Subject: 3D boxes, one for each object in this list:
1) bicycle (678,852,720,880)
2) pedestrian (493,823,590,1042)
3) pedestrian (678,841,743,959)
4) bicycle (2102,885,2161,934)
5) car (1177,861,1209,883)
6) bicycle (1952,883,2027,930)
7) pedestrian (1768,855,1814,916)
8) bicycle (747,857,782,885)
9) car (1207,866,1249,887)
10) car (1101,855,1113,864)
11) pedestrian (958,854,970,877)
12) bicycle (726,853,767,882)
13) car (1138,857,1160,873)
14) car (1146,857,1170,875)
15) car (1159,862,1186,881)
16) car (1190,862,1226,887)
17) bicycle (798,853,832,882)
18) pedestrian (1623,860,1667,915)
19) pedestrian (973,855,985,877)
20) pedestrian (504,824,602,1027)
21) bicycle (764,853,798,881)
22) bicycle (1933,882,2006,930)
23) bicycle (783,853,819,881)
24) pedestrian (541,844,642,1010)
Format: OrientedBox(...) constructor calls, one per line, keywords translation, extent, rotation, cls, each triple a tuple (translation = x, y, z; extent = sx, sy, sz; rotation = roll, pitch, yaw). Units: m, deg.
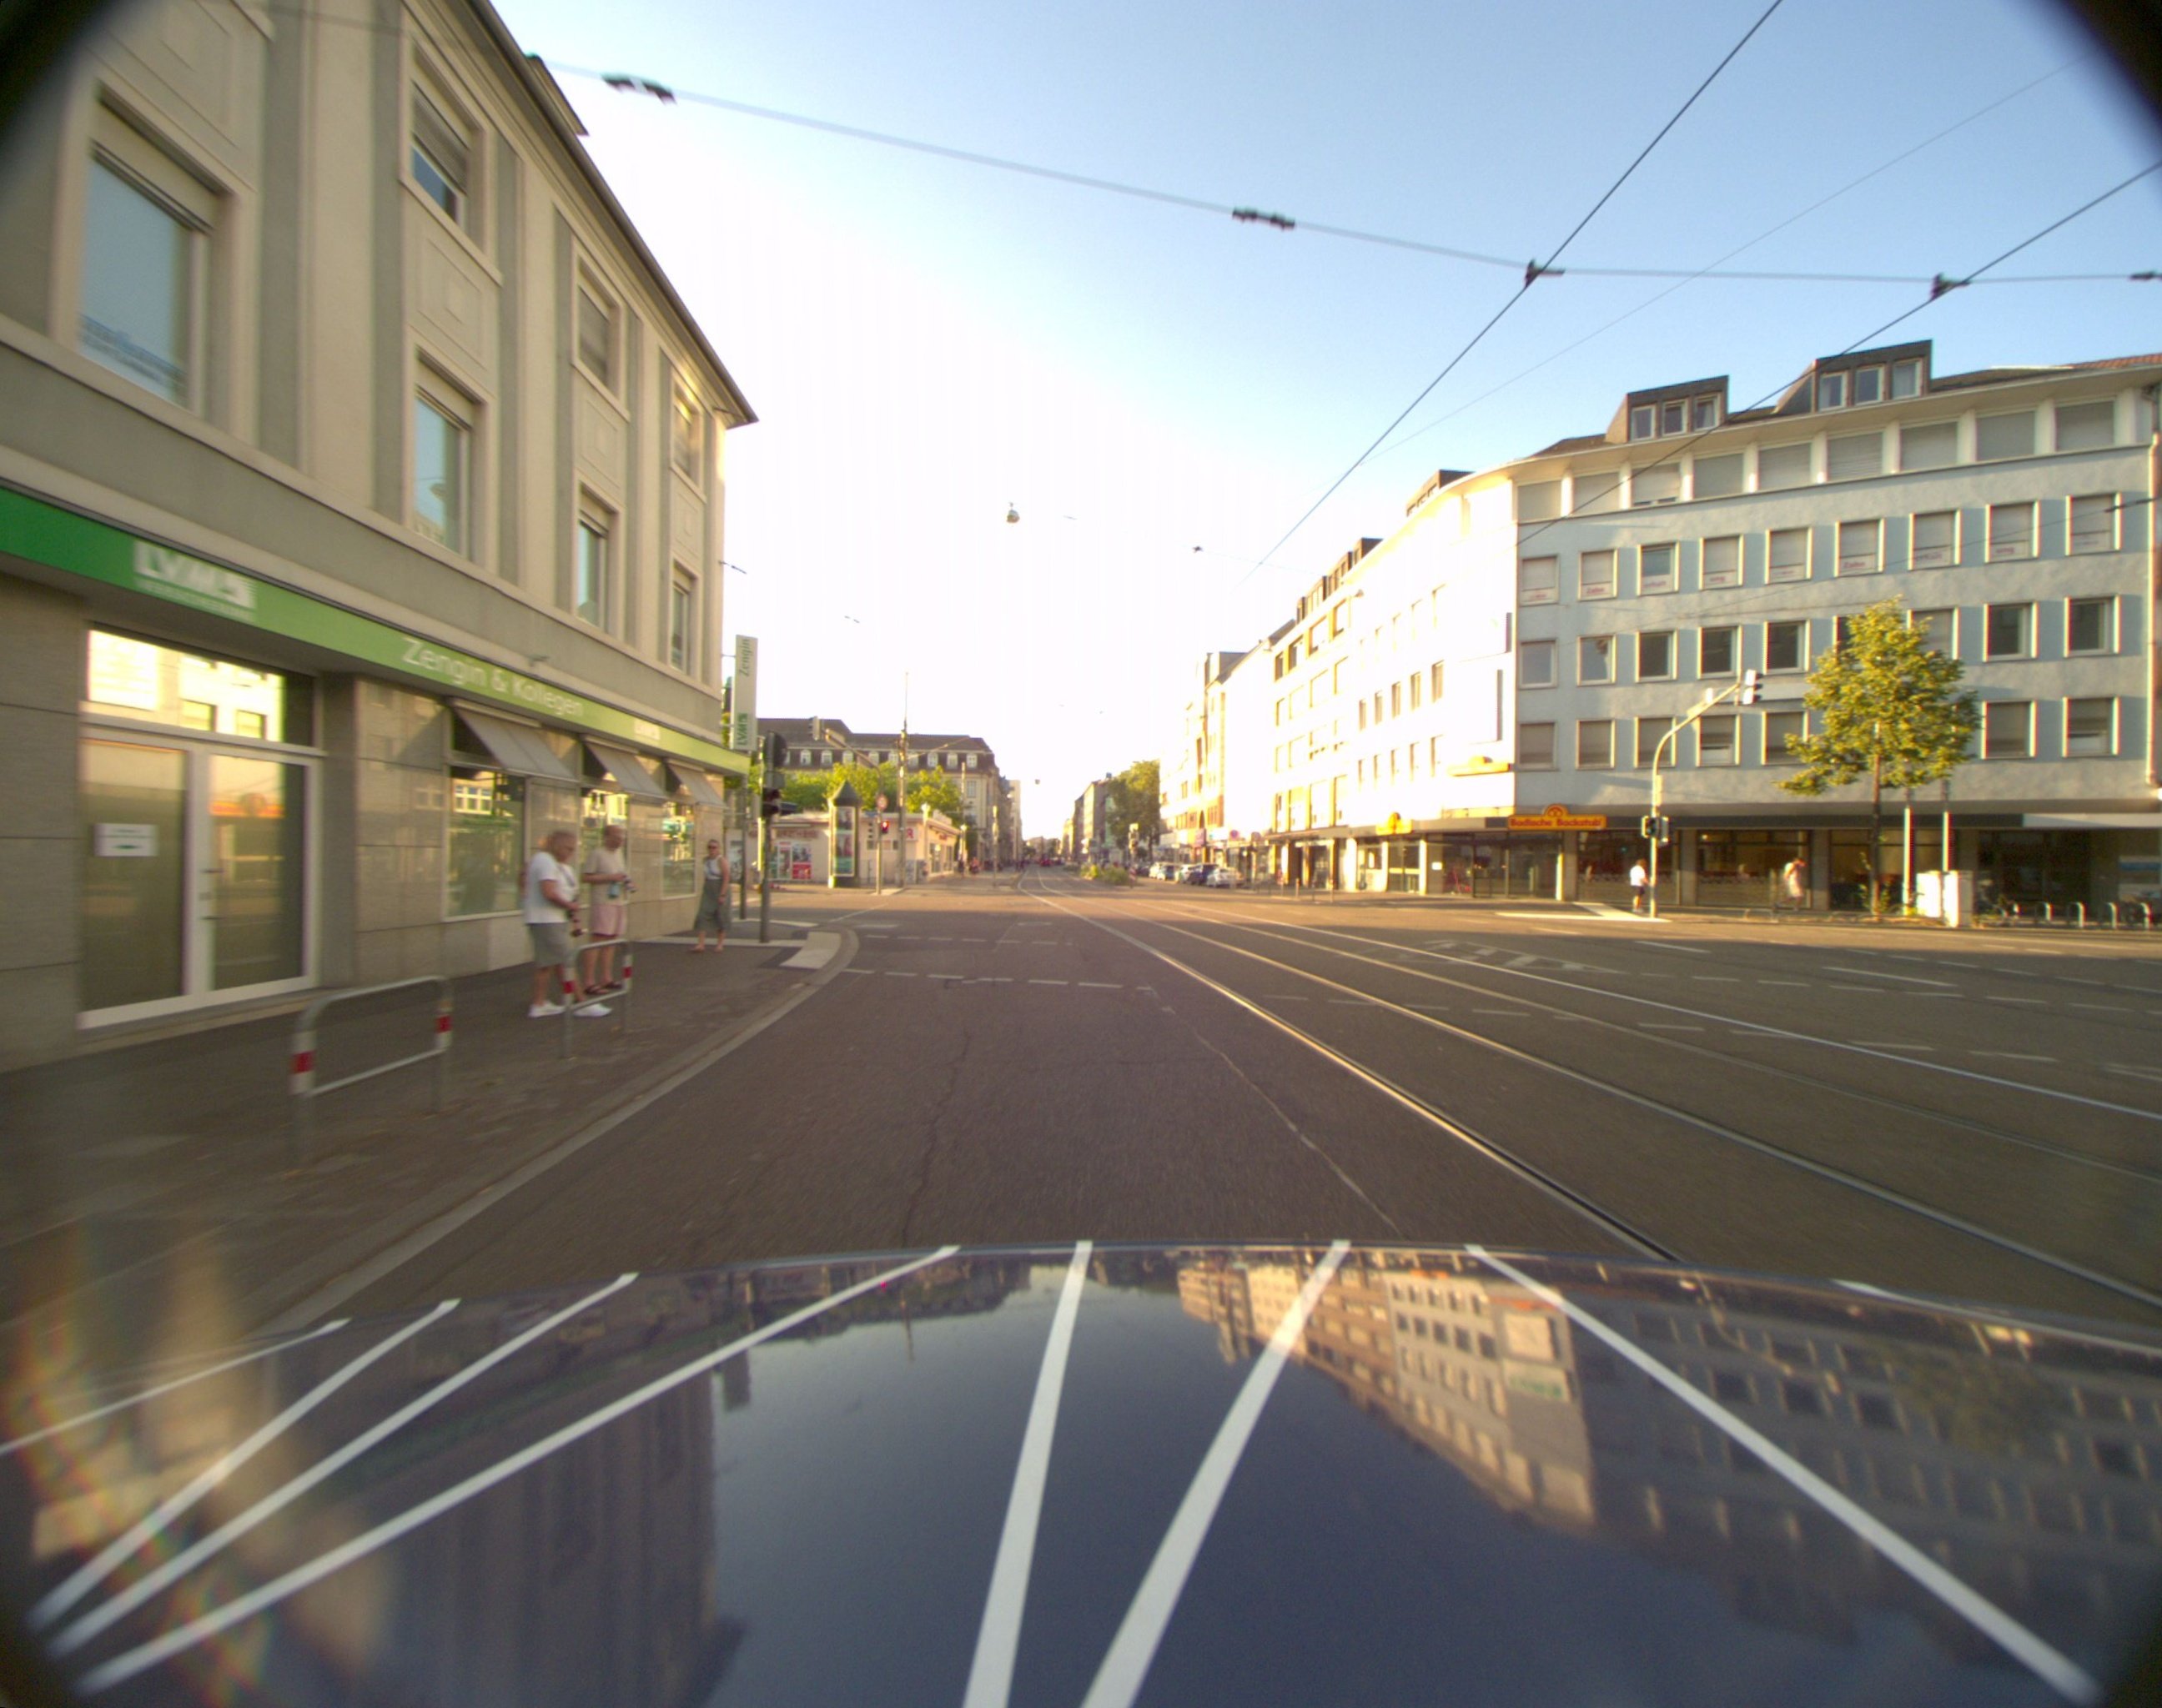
OrientedBox(translation=(-21.838, 0.677, 43.459), extent=(0.679, 1.514, 2.233), rotation=(1, 0, 22), cls="bicycle")
OrientedBox(translation=(-4.934, 0.693, 6.979), extent=(0.576, 1.917, 0.495), rotation=(1, 0, -14), cls="pedestrian")
OrientedBox(translation=(-5.723, 0.701, 11.757), extent=(0.671, 1.768, 0.647), rotation=(1, 0, 0), cls="pedestrian")
OrientedBox(translation=(27.979, 1.449, 19.776), extent=(0.469, 1.196, 1.920), rotation=(1, 0, 10), cls="bicycle")
OrientedBox(translation=(8.857, 1.413, 60.247), extent=(1.848, 1.625, 4.000), rotation=(1, 0, -1), cls="car")
OrientedBox(translation=(24.931, 1.412, 20.893), extent=(0.469, 1.196, 1.922), rotation=(1, 0, 22), cls="bicycle")
OrientedBox(translation=(22.553, 0.980, 24.140), extent=(0.808, 1.876, 0.991), rotation=(-2, 2, -42), cls="pedestrian")
OrientedBox(translation=(-17.270, 0.913, 41.500), extent=(0.478, 1.514, 1.995), rotation=(1, 0, 22), cls="bicycle")
OrientedBox(translation=(9.529, 1.428, 49.530), extent=(1.848, 1.287, 4.000), rotation=(1, 0, -1), cls="car")
OrientedBox(translation=(4.558, 0.922, 132.770), extent=(1.848, 1.625, 4.000), rotation=(1, 0, -1), cls="car")
OrientedBox(translation=(-8.465, 0.847, 54.961), extent=(0.806, 1.603, 0.993), rotation=(-1, 1, -4), cls="pedestrian")
OrientedBox(translation=(-18.318, 0.731, 41.662), extent=(0.679, 1.514, 2.233), rotation=(1, 0, 22), cls="bicycle")
OrientedBox(translation=(7.138, 1.179, 80.098), extent=(1.848, 1.625, 4.000), rotation=(1, 0, -1), cls="car")
OrientedBox(translation=(7.380, 1.137, 73.448), extent=(1.848, 1.625, 4.000), rotation=(1, 0, -1), cls="car")
OrientedBox(translation=(8.145, 1.542, 68.079), extent=(1.848, 1.625, 4.000), rotation=(1, 0, -1), cls="car")
OrientedBox(translation=(8.962, 1.427, 54.003), extent=(1.848, 1.625, 4.000), rotation=(1, 0, -1), cls="car")
OrientedBox(translation=(-14.069, 0.715, 40.222), extent=(0.478, 1.514, 1.995), rotation=(1, 0, 21), cls="bicycle")
OrientedBox(translation=(18.215, 1.049, 24.559), extent=(0.808, 1.716, 0.991), rotation=(-2, 2, -42), cls="pedestrian")
OrientedBox(translation=(-7.355, 0.859, 54.875), extent=(0.806, 1.603, 0.993), rotation=(-1, 1, -4), cls="pedestrian")
OrientedBox(translation=(-5.194, 0.681, 7.499), extent=(0.640, 1.917, 0.529), rotation=(1, 0, -15), cls="pedestrian")
OrientedBox(translation=(-16.265, 0.693, 41.222), extent=(0.478, 1.514, 1.995), rotation=(1, 0, 22), cls="bicycle")
OrientedBox(translation=(24.416, 1.395, 20.924), extent=(0.469, 1.196, 1.922), rotation=(1, 0, 22), cls="bicycle")
OrientedBox(translation=(-15.065, 0.695, 40.926), extent=(0.478, 1.514, 1.996), rotation=(1, 0, 27), cls="bicycle")
OrientedBox(translation=(-5.337, 0.772, 8.316), extent=(0.639, 1.735, 0.699), rotation=(1, 0, -1), cls="pedestrian")
